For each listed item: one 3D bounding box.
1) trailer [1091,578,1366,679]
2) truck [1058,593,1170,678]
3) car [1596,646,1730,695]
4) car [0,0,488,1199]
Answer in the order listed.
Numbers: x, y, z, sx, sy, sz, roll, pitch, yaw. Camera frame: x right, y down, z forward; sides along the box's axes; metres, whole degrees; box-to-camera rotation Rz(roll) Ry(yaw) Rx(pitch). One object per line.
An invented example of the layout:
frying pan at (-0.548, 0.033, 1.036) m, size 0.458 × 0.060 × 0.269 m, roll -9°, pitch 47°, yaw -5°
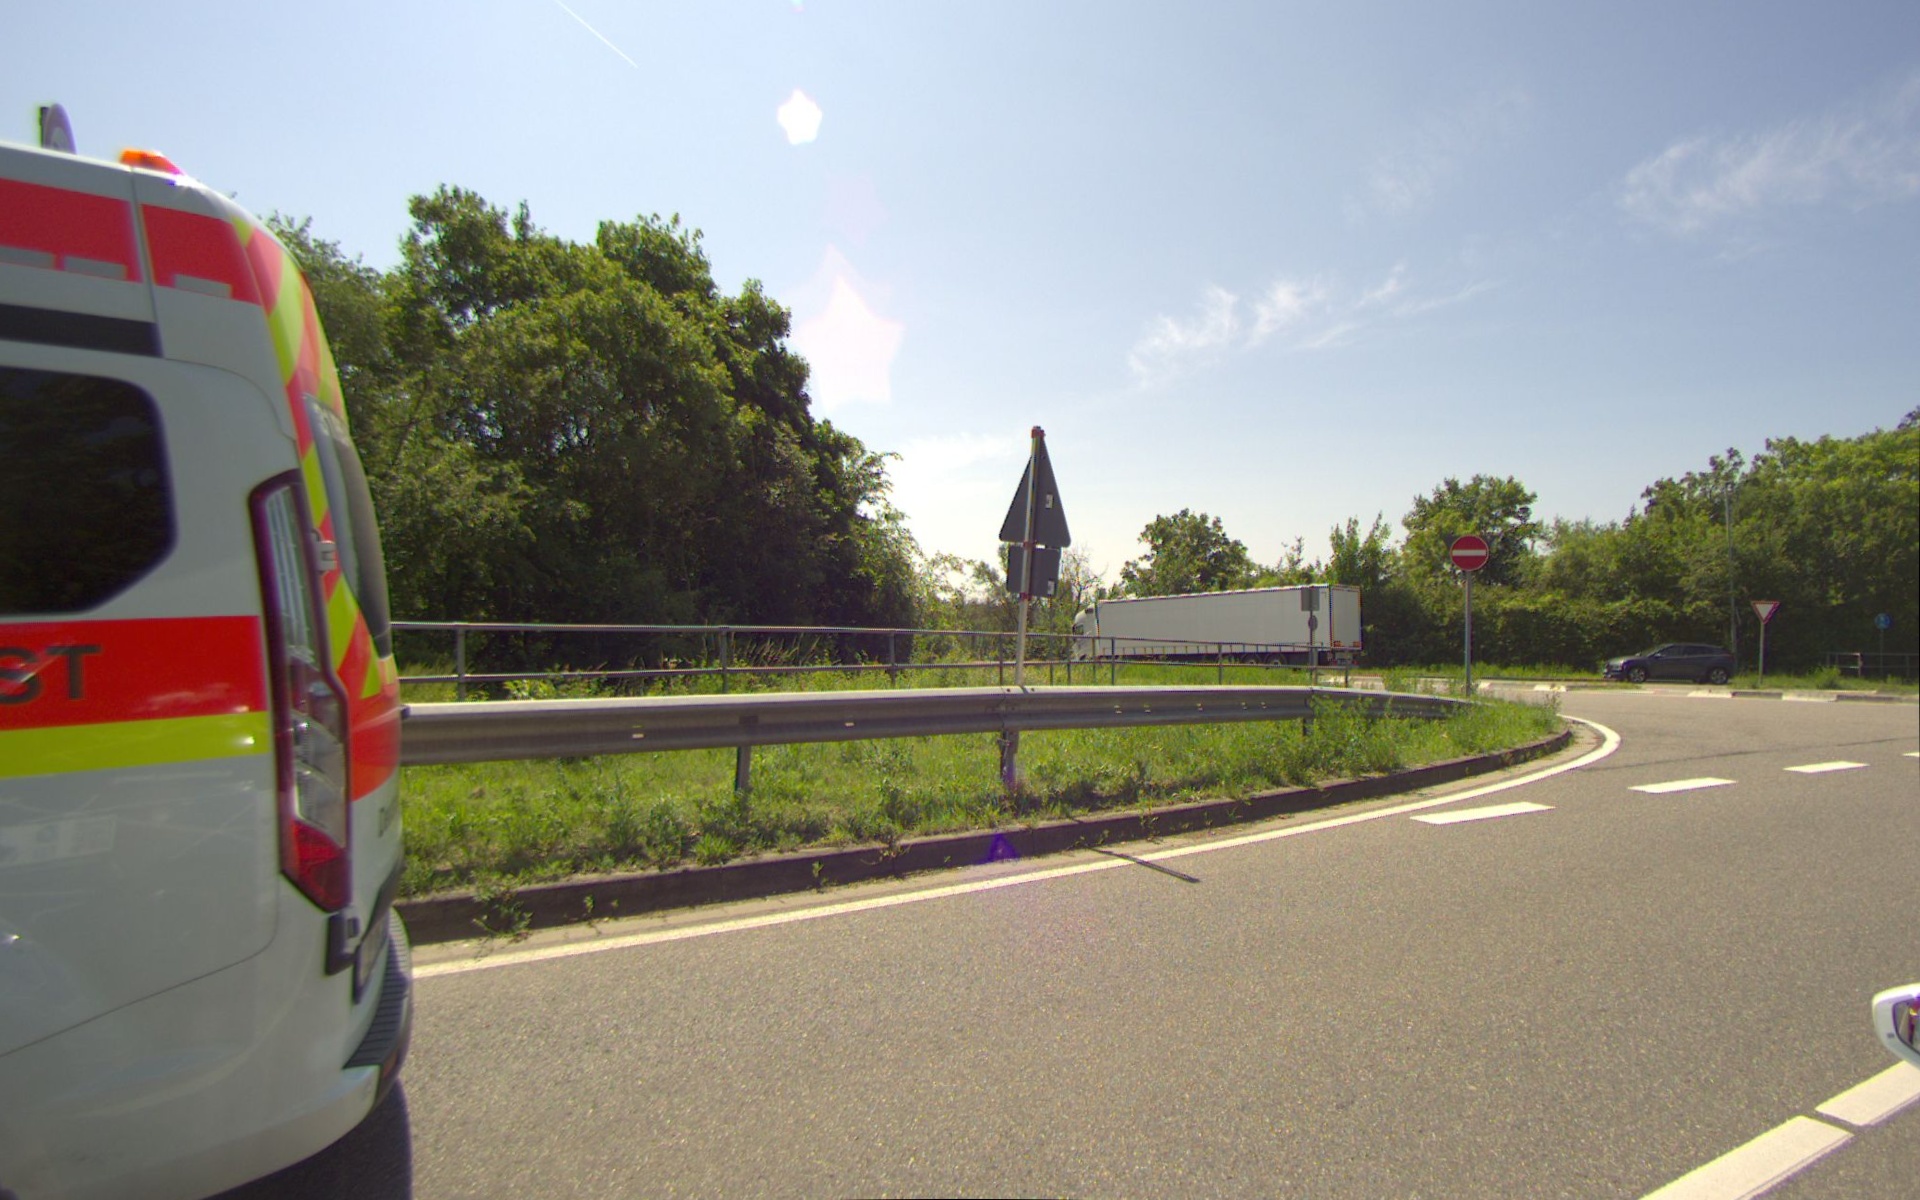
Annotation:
trailer at (12.557, 1.622, 49.111) m, size 2.975 × 4.331 × 13.632 m, roll 1°, pitch -4°, yaw -40°
truck at (8.244, 2.023, 54.608) m, size 2.963 × 4.331 × 5.884 m, roll 1°, pitch -4°, yaw -29°
car at (26.761, 2.648, 38.376) m, size 3.852 × 1.617 × 1.770 m, roll 1°, pitch 0°, yaw 22°
car at (-3.605, 0.191, 1.460) m, size 5.120 × 2.400 × 1.981 m, roll 1°, pitch 0°, yaw -30°
